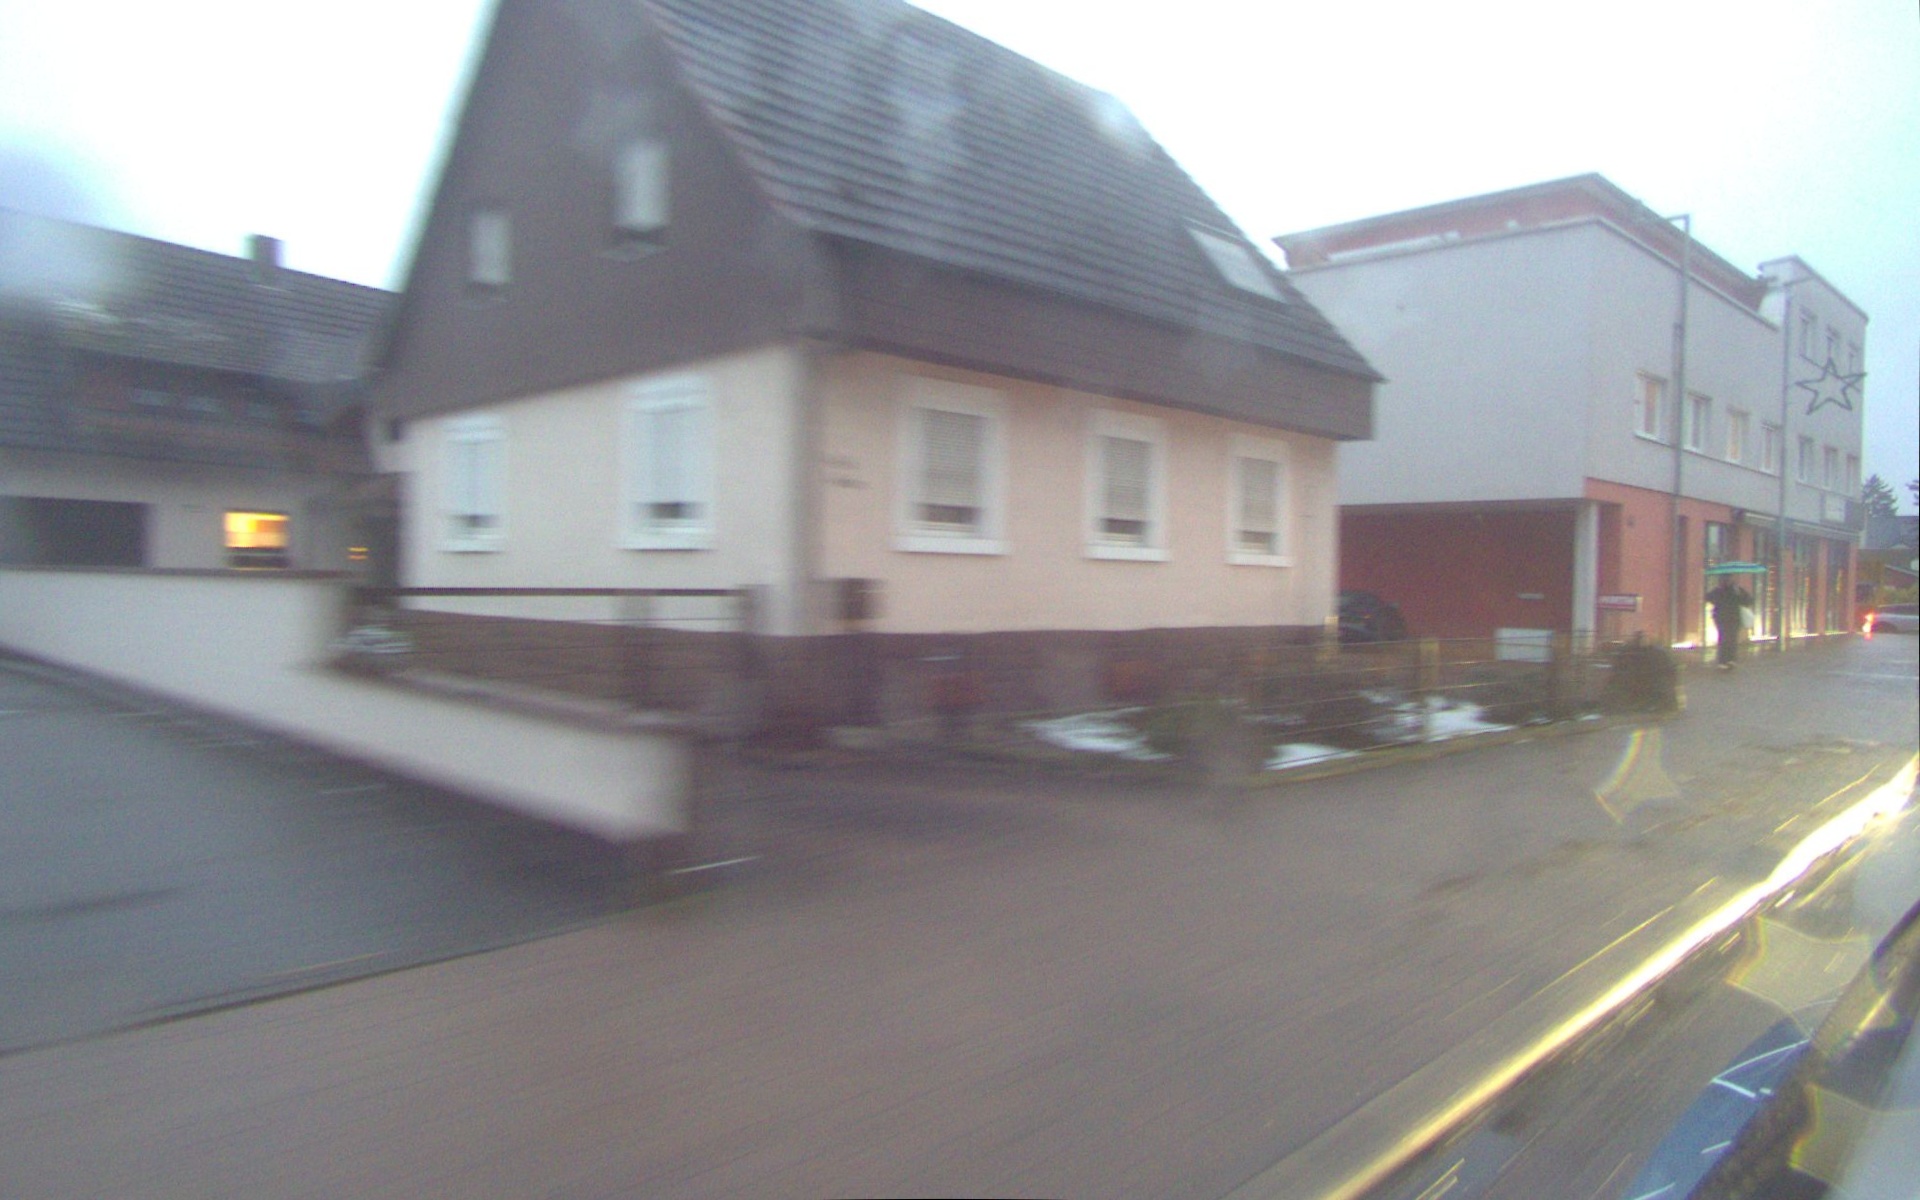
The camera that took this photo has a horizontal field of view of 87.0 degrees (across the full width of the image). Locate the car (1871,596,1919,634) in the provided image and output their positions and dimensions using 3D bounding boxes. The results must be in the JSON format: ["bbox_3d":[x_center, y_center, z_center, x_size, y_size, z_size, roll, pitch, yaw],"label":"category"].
[{"bbox_3d":[37.871,0.579,38.774,1.766,1.460,4.177,2,-2,-40],"label":"car"}]

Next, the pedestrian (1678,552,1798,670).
[{"bbox_3d":[13.308,0.150,17.318,1.279,1.888,1.258,0,3,-37],"label":"pedestrian"}]

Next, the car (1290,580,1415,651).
[{"bbox_3d":[8.677,0.256,22.176,1.866,1.274,4.126,2,3,31],"label":"car"}]
